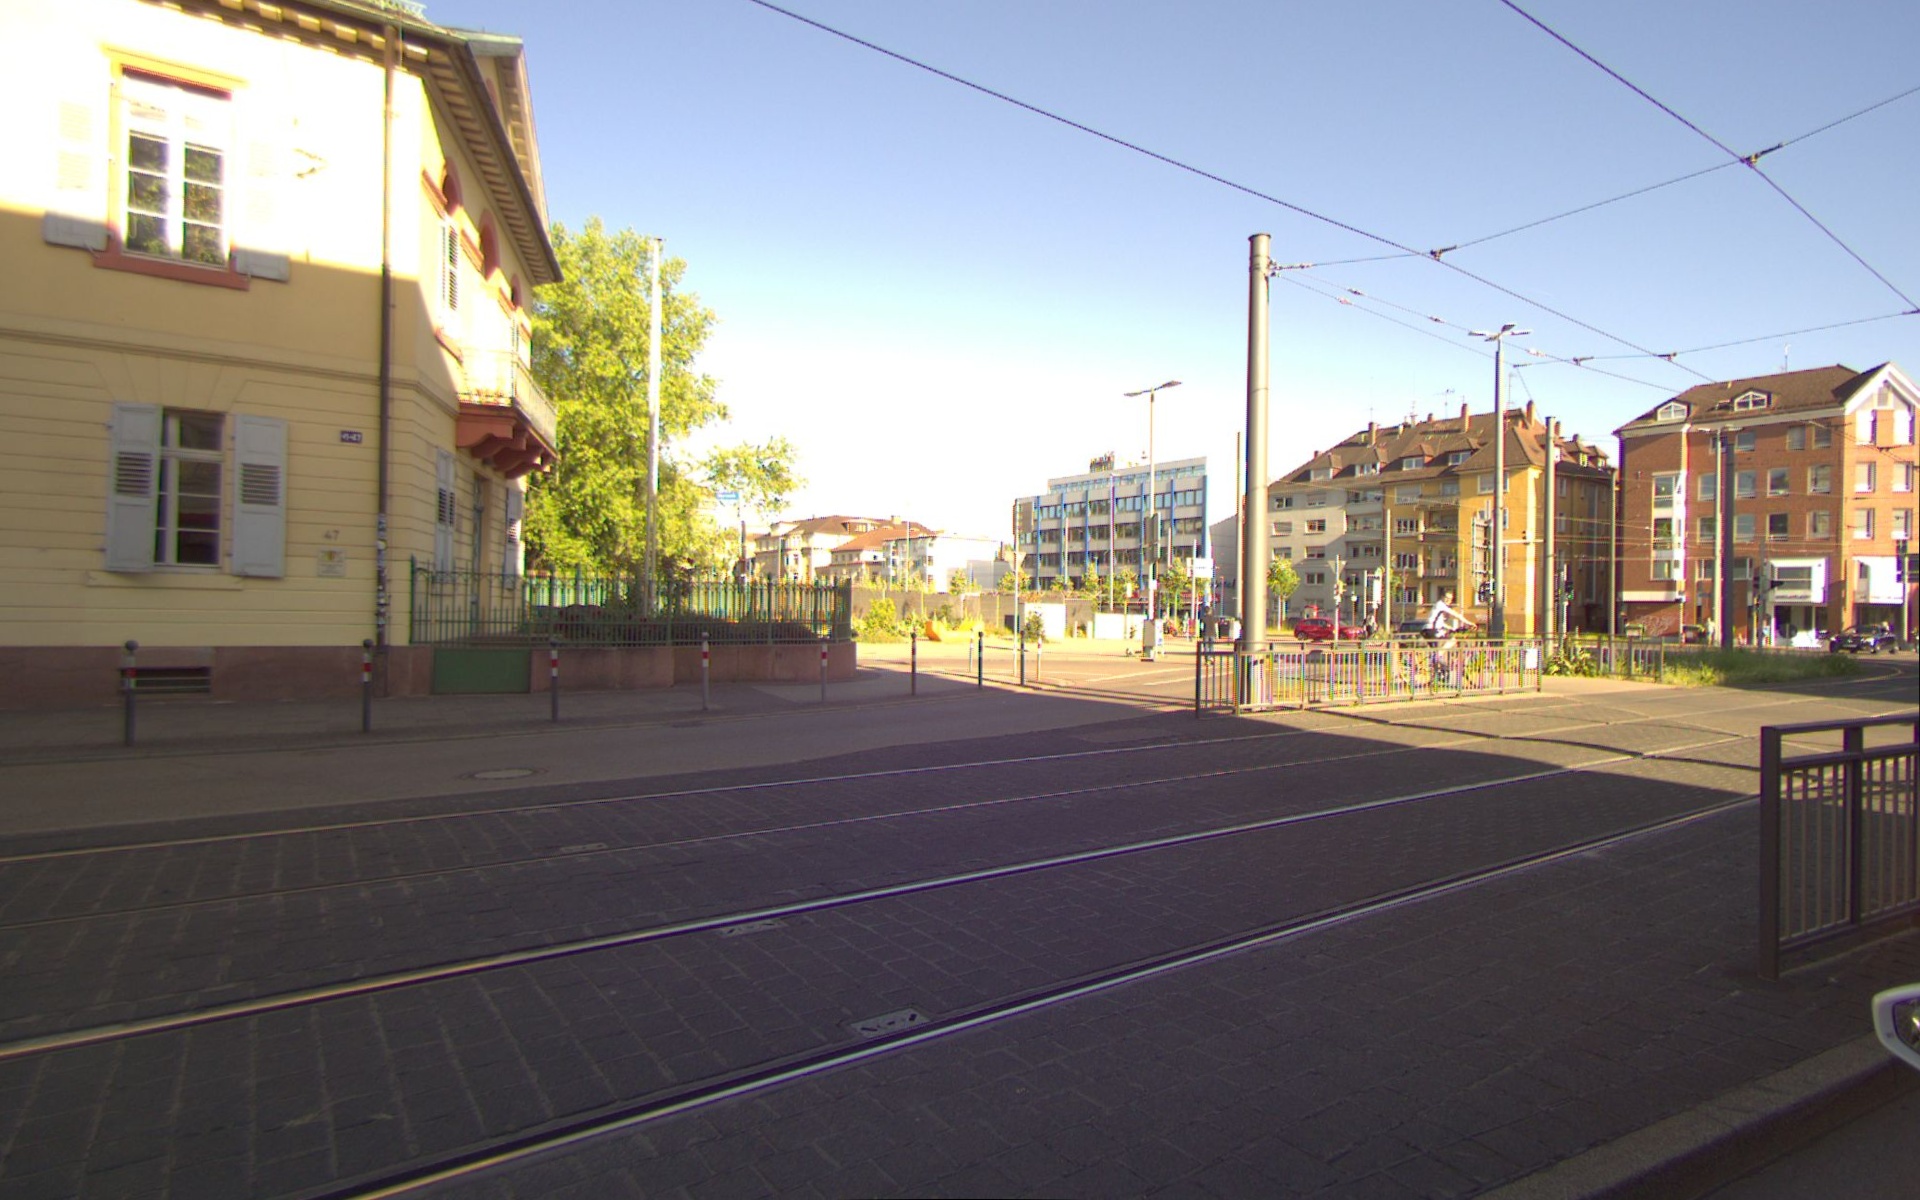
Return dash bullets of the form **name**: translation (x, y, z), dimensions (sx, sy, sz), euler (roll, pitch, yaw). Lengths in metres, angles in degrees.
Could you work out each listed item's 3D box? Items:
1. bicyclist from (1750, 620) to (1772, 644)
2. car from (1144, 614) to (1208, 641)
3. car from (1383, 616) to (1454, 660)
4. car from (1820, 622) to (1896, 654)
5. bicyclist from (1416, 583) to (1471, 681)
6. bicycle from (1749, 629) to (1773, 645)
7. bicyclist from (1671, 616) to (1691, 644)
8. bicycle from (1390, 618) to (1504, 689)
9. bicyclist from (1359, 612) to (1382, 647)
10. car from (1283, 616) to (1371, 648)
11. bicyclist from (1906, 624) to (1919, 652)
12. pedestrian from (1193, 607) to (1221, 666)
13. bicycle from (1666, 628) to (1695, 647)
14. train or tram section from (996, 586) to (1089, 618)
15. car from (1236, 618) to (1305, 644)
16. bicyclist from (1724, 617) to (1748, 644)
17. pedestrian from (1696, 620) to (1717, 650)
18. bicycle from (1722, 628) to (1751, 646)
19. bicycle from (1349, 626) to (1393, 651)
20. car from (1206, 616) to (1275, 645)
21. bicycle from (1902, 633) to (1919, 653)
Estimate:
- **bicyclist**: translation (50.372, 1.981, 63.129), dimensions (0.958, 1.490, 0.702), euler (1, 0, -22)
- **car**: translation (14.734, 1.866, 68.567), dimensions (1.895, 1.708, 3.916), euler (2, 0, -41)
- **car**: translation (17.628, 1.423, 38.526), dimensions (1.619, 1.546, 3.850), euler (2, 0, 38)
- **car**: translation (45.729, 1.947, 51.136), dimensions (3.988, 1.547, 1.702), euler (2, 0, -30)
- **bicyclist**: translation (9.029, 0.590, 18.794), dimensions (0.738, 1.783, 0.759), euler (2, 0, 13)
- **bicycle**: translation (50.362, 2.334, 63.132), dimensions (1.669, 0.994, 0.403), euler (2, 0, -22)
- **bicyclist**: translation (39.780, 1.645, 55.415), dimensions (0.688, 1.523, 0.630), euler (2, 0, -30)
- **bicycle**: translation (9.076, 0.984, 18.773), dimensions (1.817, 1.238, 0.486), euler (2, 0, 12)
- **bicyclist**: translation (22.317, 1.599, 54.609), dimensions (0.785, 1.832, 0.892), euler (2, 0, -43)
- **car**: translation (21.858, 1.880, 59.896), dimensions (1.984, 1.723, 4.545), euler (2, 0, -41)
- **bicyclist**: translation (54.531, 2.175, 57.222), dimensions (0.581, 1.547, 0.783), euler (2, 0, -25)
- **pedestrian**: translation (7.269, 1.063, 29.596), dimensions (0.758, 1.703, 0.593), euler (2, 0, 13)
- **bicycle**: translation (39.777, 2.062, 55.426), dimensions (2.220, 0.984, 0.444), euler (2, 0, -31)
- **train or tram section**: translation (8.635, 0.185, 107.271), dimensions (2.784, 3.172, 11.131), euler (2, 0, -41)
- **car**: translation (20.306, 2.007, 65.836), dimensions (1.781, 1.503, 3.949), euler (2, 0, -43)
- **bicyclist**: translation (45.512, 1.776, 58.891), dimensions (0.688, 1.523, 0.894), euler (2, 0, -30)
- **pedestrian**: translation (47.189, 2.187, 63.471), dimensions (0.737, 1.845, 0.781), euler (2, 0, -28)
- **bicycle**: translation (45.533, 2.164, 58.901), dimensions (2.220, 0.984, 0.521), euler (2, 0, -31)
- **bicycle**: translation (22.331, 2.085, 54.564), dimensions (0.542, 1.230, 2.168), euler (2, 0, -41)
- **car**: translation (17.995, 1.937, 64.575), dimensions (1.762, 1.694, 3.955), euler (2, 0, -39)
- **bicycle**: translation (54.479, 2.462, 57.190), dimensions (2.172, 1.108, 0.457), euler (2, 0, -26)
